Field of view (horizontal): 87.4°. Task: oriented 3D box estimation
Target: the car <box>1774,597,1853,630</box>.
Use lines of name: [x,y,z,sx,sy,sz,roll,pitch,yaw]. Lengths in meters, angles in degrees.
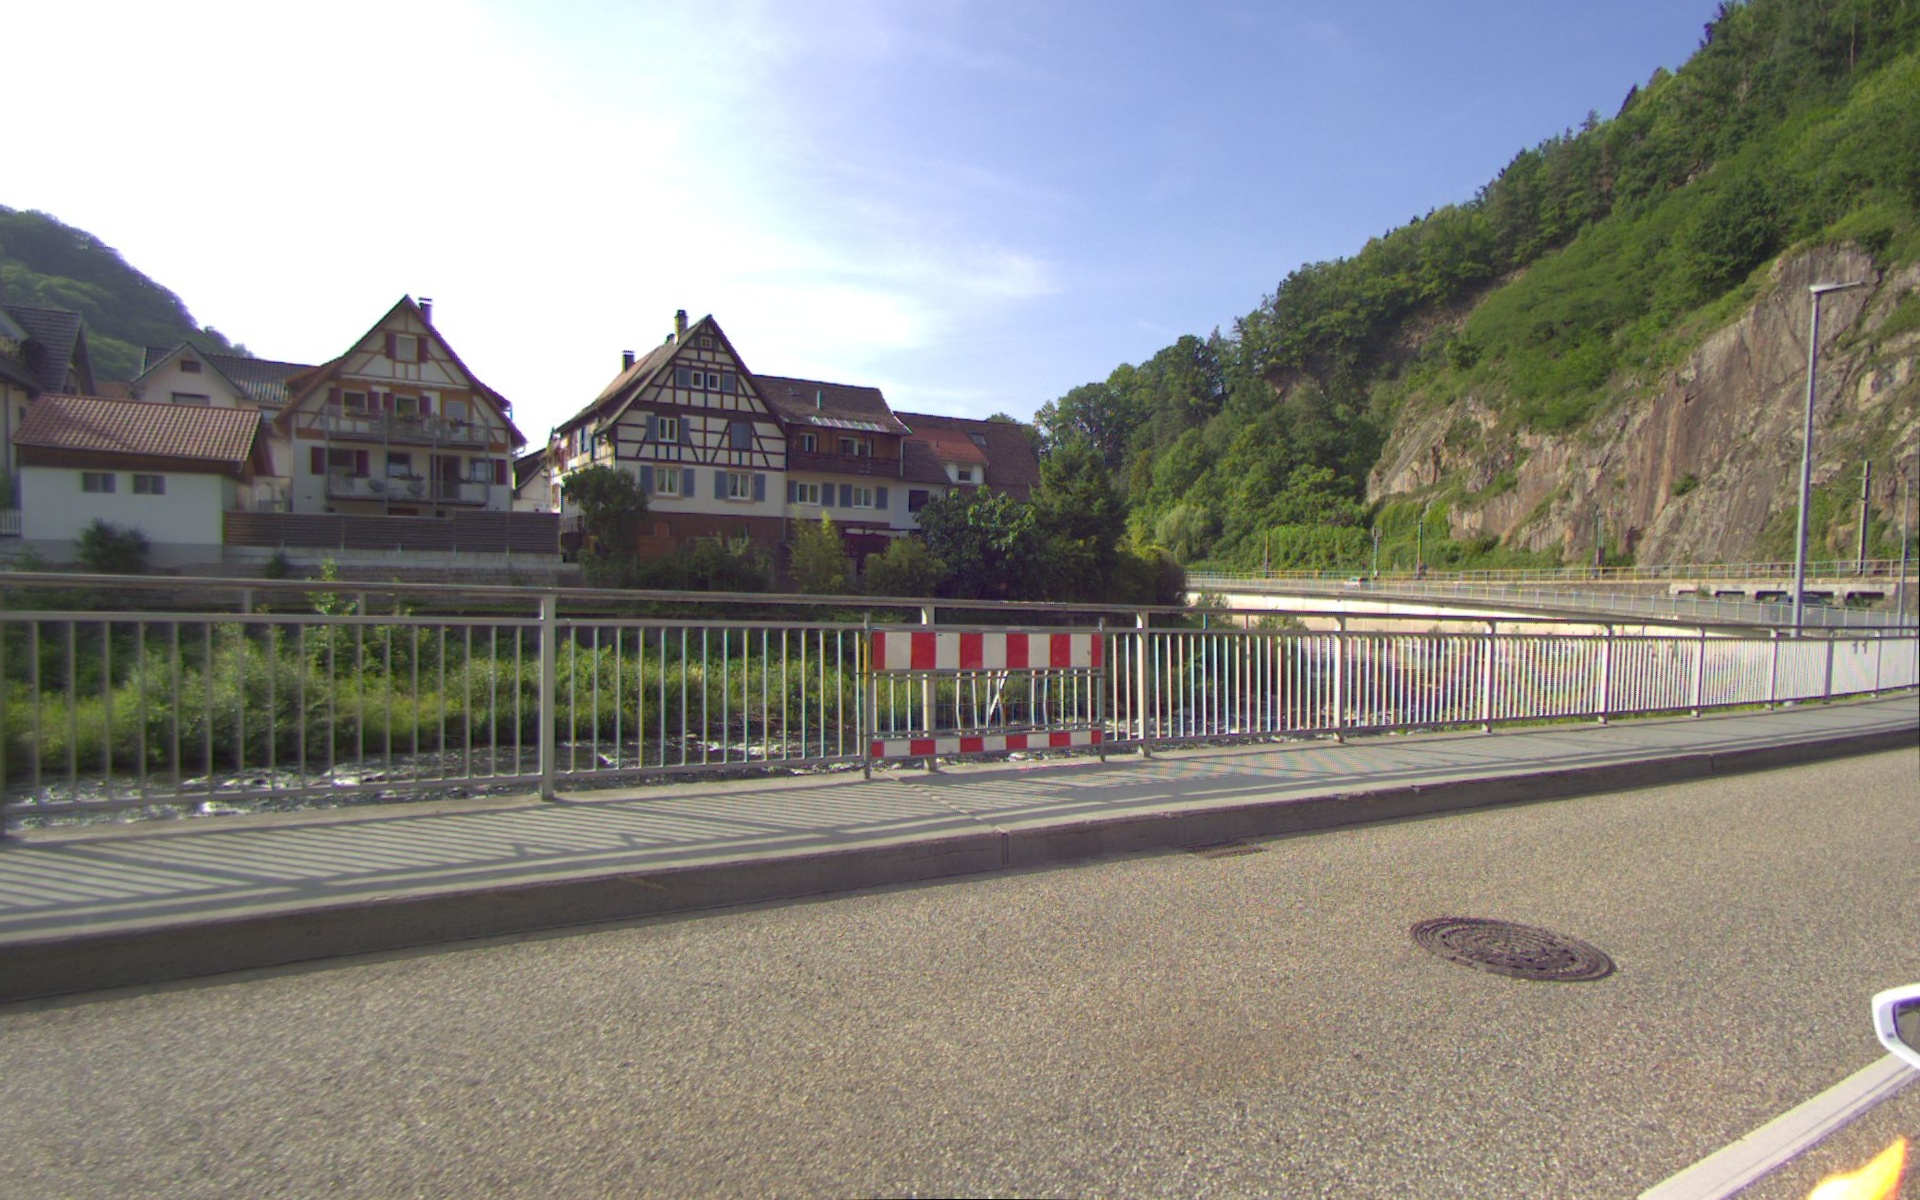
car: [46.969,0.721,55.394,1.785,1.665,4.001,2,1,16]
